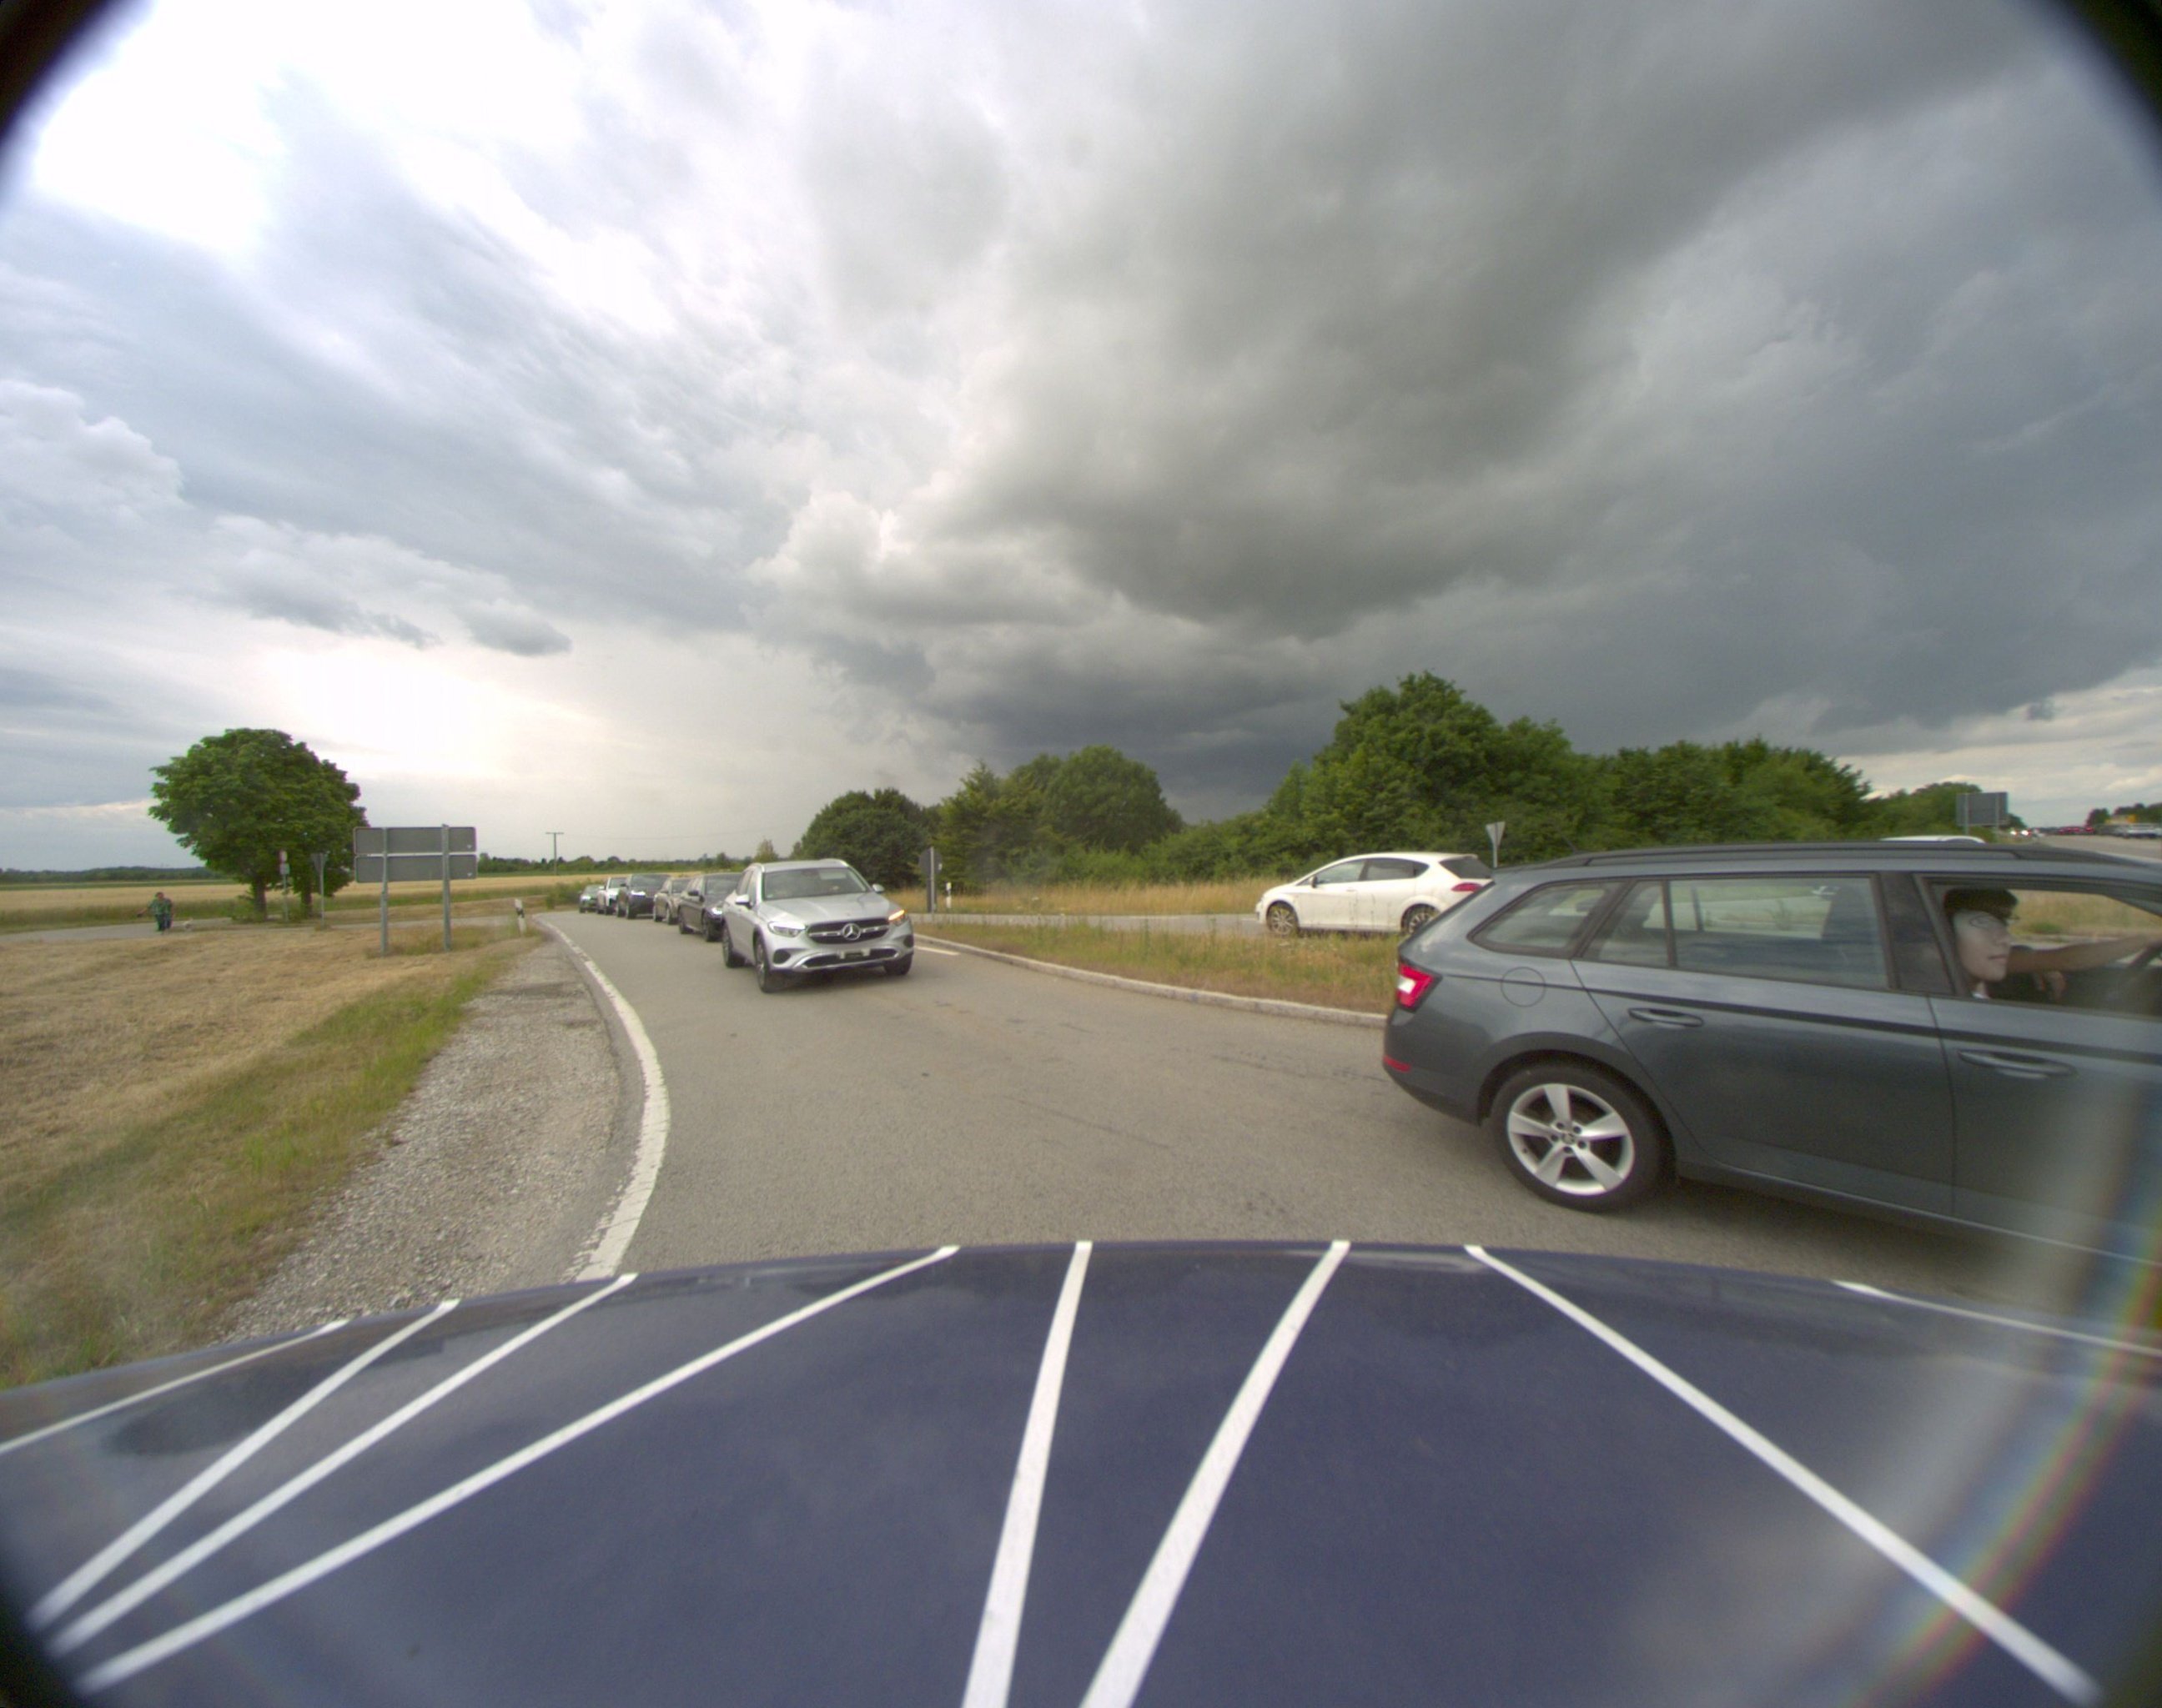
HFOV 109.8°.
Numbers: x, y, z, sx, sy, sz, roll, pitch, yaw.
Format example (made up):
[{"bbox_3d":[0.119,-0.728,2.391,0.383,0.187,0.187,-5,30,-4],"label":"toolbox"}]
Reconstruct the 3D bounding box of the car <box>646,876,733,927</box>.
[{"bbox_3d":[-12.353,1.429,23.871,1.725,1.345,4.203,-1,0,-37],"label":"car"}]

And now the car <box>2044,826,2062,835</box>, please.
[{"bbox_3d":[176.969,-4.191,138.388,4.008,1.543,1.792,-1,0,-41],"label":"car"}]

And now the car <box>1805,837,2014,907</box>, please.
[{"bbox_3d":[19.146,0.367,17.570,4.397,1.443,1.769,-1,0,-21],"label":"car"}]

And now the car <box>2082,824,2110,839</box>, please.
[{"bbox_3d":[127.483,-2.795,95.461,4.008,1.739,1.853,-1,0,-41],"label":"car"}]

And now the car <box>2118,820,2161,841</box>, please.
[{"bbox_3d":[102.752,-2.212,73.571,4.885,1.910,2.335,-1,0,-41],"label":"car"}]

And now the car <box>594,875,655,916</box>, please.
[{"bbox_3d":[-19.988,1.756,33.197,1.725,1.486,4.626,-4,2,-37],"label":"car"}]

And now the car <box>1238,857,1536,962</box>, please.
[{"bbox_3d":[4.902,0.777,12.745,1.824,1.400,4.300,-1,1,-37],"label":"car"}]

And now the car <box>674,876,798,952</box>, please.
[{"bbox_3d":[-8.075,1.265,17.529,1.725,1.345,4.683,-4,2,-35],"label":"car"}]

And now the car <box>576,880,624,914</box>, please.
[{"bbox_3d":[-25.499,2.229,40.239,1.725,1.486,4.203,-4,2,-37],"label":"car"}]

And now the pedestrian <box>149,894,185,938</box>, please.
[{"bbox_3d":[-34.790,2.355,28.911,0.942,1.601,0.775,-1,0,35],"label":"pedestrian"}]

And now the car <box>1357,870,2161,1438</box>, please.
[{"bbox_3d":[3.380,0.822,2.731,4.105,1.439,1.722,-1,1,42],"label":"car"}]

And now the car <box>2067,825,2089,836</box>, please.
[{"bbox_3d":[155.708,-3.627,118.645,4.008,1.543,1.792,-1,0,-41],"label":"car"}]

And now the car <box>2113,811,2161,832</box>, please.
[{"bbox_3d":[107.219,-3.232,77.165,4.885,1.910,2.335,-1,0,-42],"label":"car"}]

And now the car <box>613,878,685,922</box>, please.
[{"bbox_3d":[-16.159,1.639,28.316,1.725,1.345,4.203,-4,2,-37],"label":"car"}]

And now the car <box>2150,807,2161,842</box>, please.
[{"bbox_3d":[95.414,-2.600,65.965,6.571,3.011,2.335,-1,0,-42],"label":"car"}]

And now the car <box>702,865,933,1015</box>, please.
[{"bbox_3d":[-3.998,1.010,10.984,2.000,1.577,4.383,-4,2,-34],"label":"car"}]
